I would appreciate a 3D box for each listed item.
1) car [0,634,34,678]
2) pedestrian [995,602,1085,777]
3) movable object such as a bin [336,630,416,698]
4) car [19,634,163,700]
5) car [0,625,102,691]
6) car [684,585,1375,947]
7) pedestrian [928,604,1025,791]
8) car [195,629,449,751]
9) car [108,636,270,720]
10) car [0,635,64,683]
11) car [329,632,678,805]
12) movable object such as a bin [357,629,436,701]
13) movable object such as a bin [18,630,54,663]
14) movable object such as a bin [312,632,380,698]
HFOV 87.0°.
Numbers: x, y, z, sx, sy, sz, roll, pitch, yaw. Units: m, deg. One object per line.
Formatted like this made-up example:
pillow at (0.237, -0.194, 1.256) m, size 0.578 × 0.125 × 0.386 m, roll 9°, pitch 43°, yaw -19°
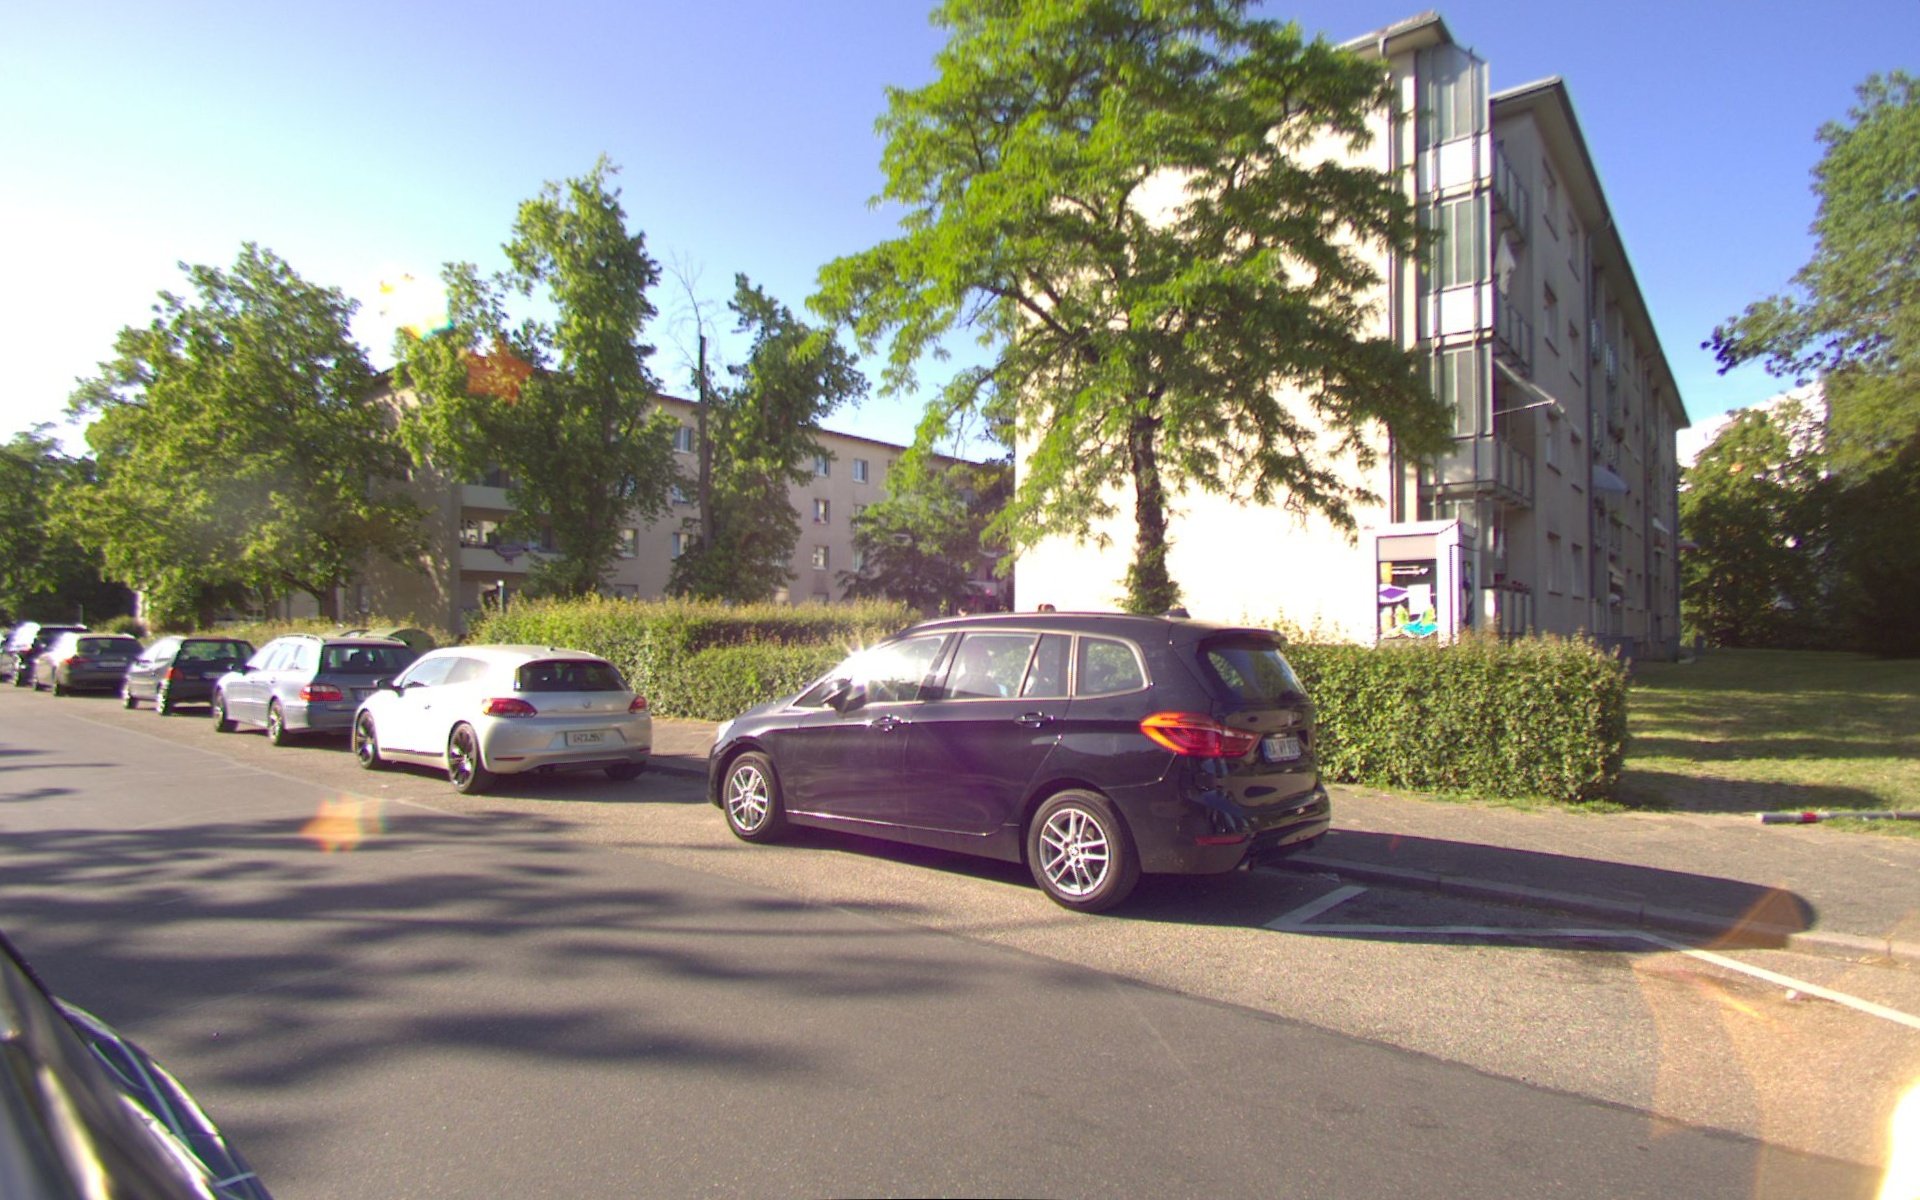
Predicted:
car at (-33.855, 1.927, 35.213) m, size 4.145 × 1.448 × 1.737 m, roll -2°, pitch -4°, yaw 38°
pedestrian at (0.816, 0.878, 10.291) m, size 0.599 × 1.692 × 0.713 m, roll -2°, pitch -2°, yaw 39°
movable object such as a bin at (-12.892, 1.386, 22.361) m, size 1.255 × 1.376 × 1.109 m, roll -1°, pitch 0°, yaw 37°
car at (-20.977, 1.557, 24.358) m, size 4.668 × 1.396 × 1.737 m, roll -1°, pitch -3°, yaw 39°
car at (-25.348, 1.577, 27.875) m, size 4.384 × 1.681 × 1.737 m, roll -2°, pitch -4°, yaw 39°
car at (0.231, 0.854, 6.709) m, size 4.366 × 1.648 × 1.737 m, roll -2°, pitch -5°, yaw 39°
pedestrian at (0.159, 0.892, 9.638) m, size 0.615 × 1.692 × 0.713 m, roll -2°, pitch -2°, yaw 39°
car at (-9.382, 1.246, 14.703) m, size 4.898 × 1.501 × 1.736 m, roll -3°, pitch -6°, yaw 41°
car at (-14.933, 1.448, 19.556) m, size 3.491 × 1.475 × 1.632 m, roll -2°, pitch -4°, yaw 38°
car at (-29.292, 1.804, 31.180) m, size 4.162 × 1.396 × 1.623 m, roll -1°, pitch -4°, yaw 36°
car at (-4.948, 1.106, 10.699) m, size 4.208 × 1.436 × 1.736 m, roll -1°, pitch -4°, yaw 41°
movable object such as a bin at (-11.926, 1.356, 21.422) m, size 1.324 × 1.426 × 0.992 m, roll -1°, pitch 0°, yaw 38°
movable object such as a bin at (-40.750, 2.043, 44.618) m, size 1.262 × 1.426 × 0.887 m, roll -1°, pitch 0°, yaw 35°
movable object such as a bin at (-14.024, 1.465, 23.121) m, size 1.324 × 1.426 × 0.886 m, roll -1°, pitch 0°, yaw 38°
